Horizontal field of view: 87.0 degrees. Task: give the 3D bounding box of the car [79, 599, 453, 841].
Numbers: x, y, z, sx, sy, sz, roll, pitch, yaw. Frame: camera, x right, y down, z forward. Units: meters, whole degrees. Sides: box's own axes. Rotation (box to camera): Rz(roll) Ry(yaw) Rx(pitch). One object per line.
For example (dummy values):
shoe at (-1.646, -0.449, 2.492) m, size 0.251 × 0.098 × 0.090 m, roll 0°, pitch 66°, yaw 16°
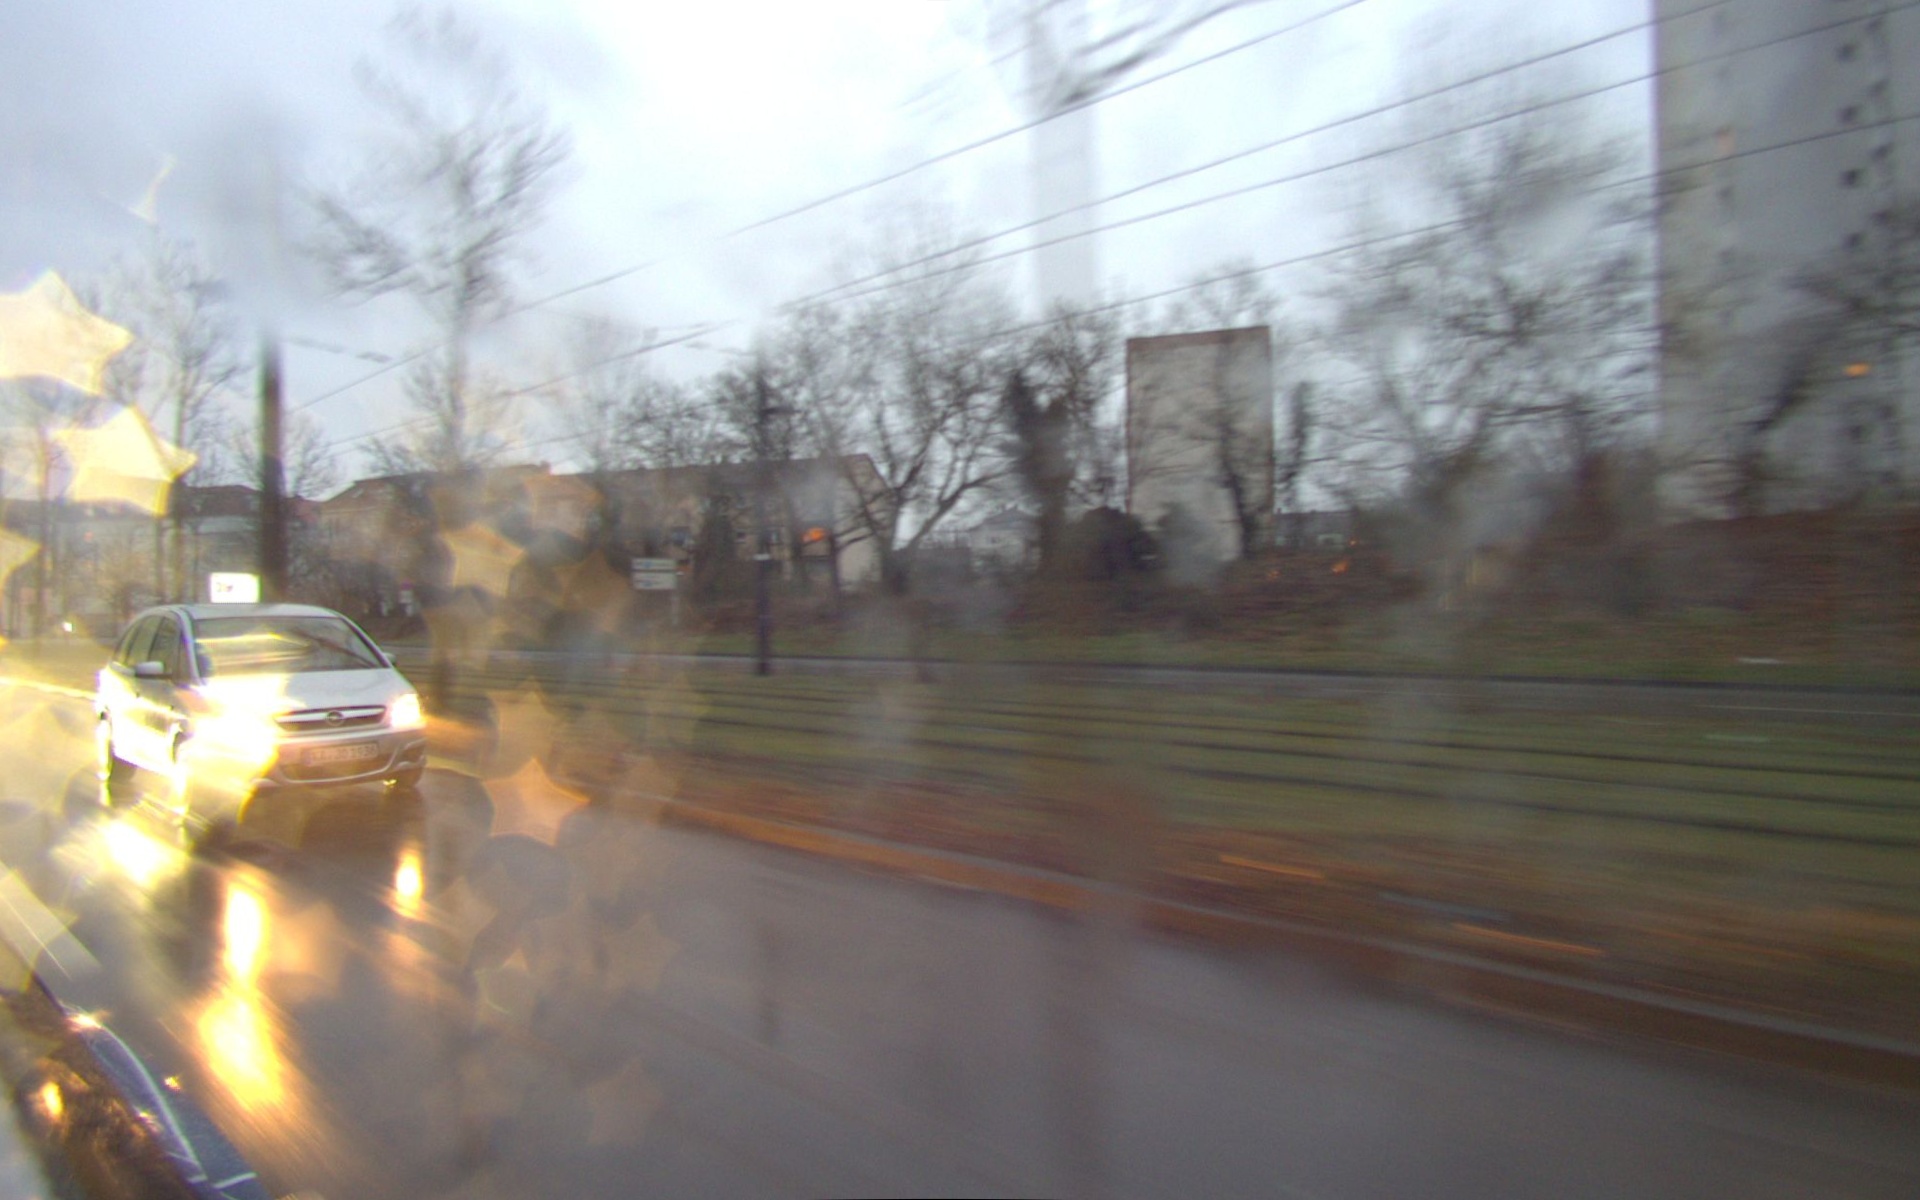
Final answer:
car at (-6.078, 0.847, 8.690) m, size 3.919 × 1.587 × 1.648 m, roll -2°, pitch 0°, yaw 40°
